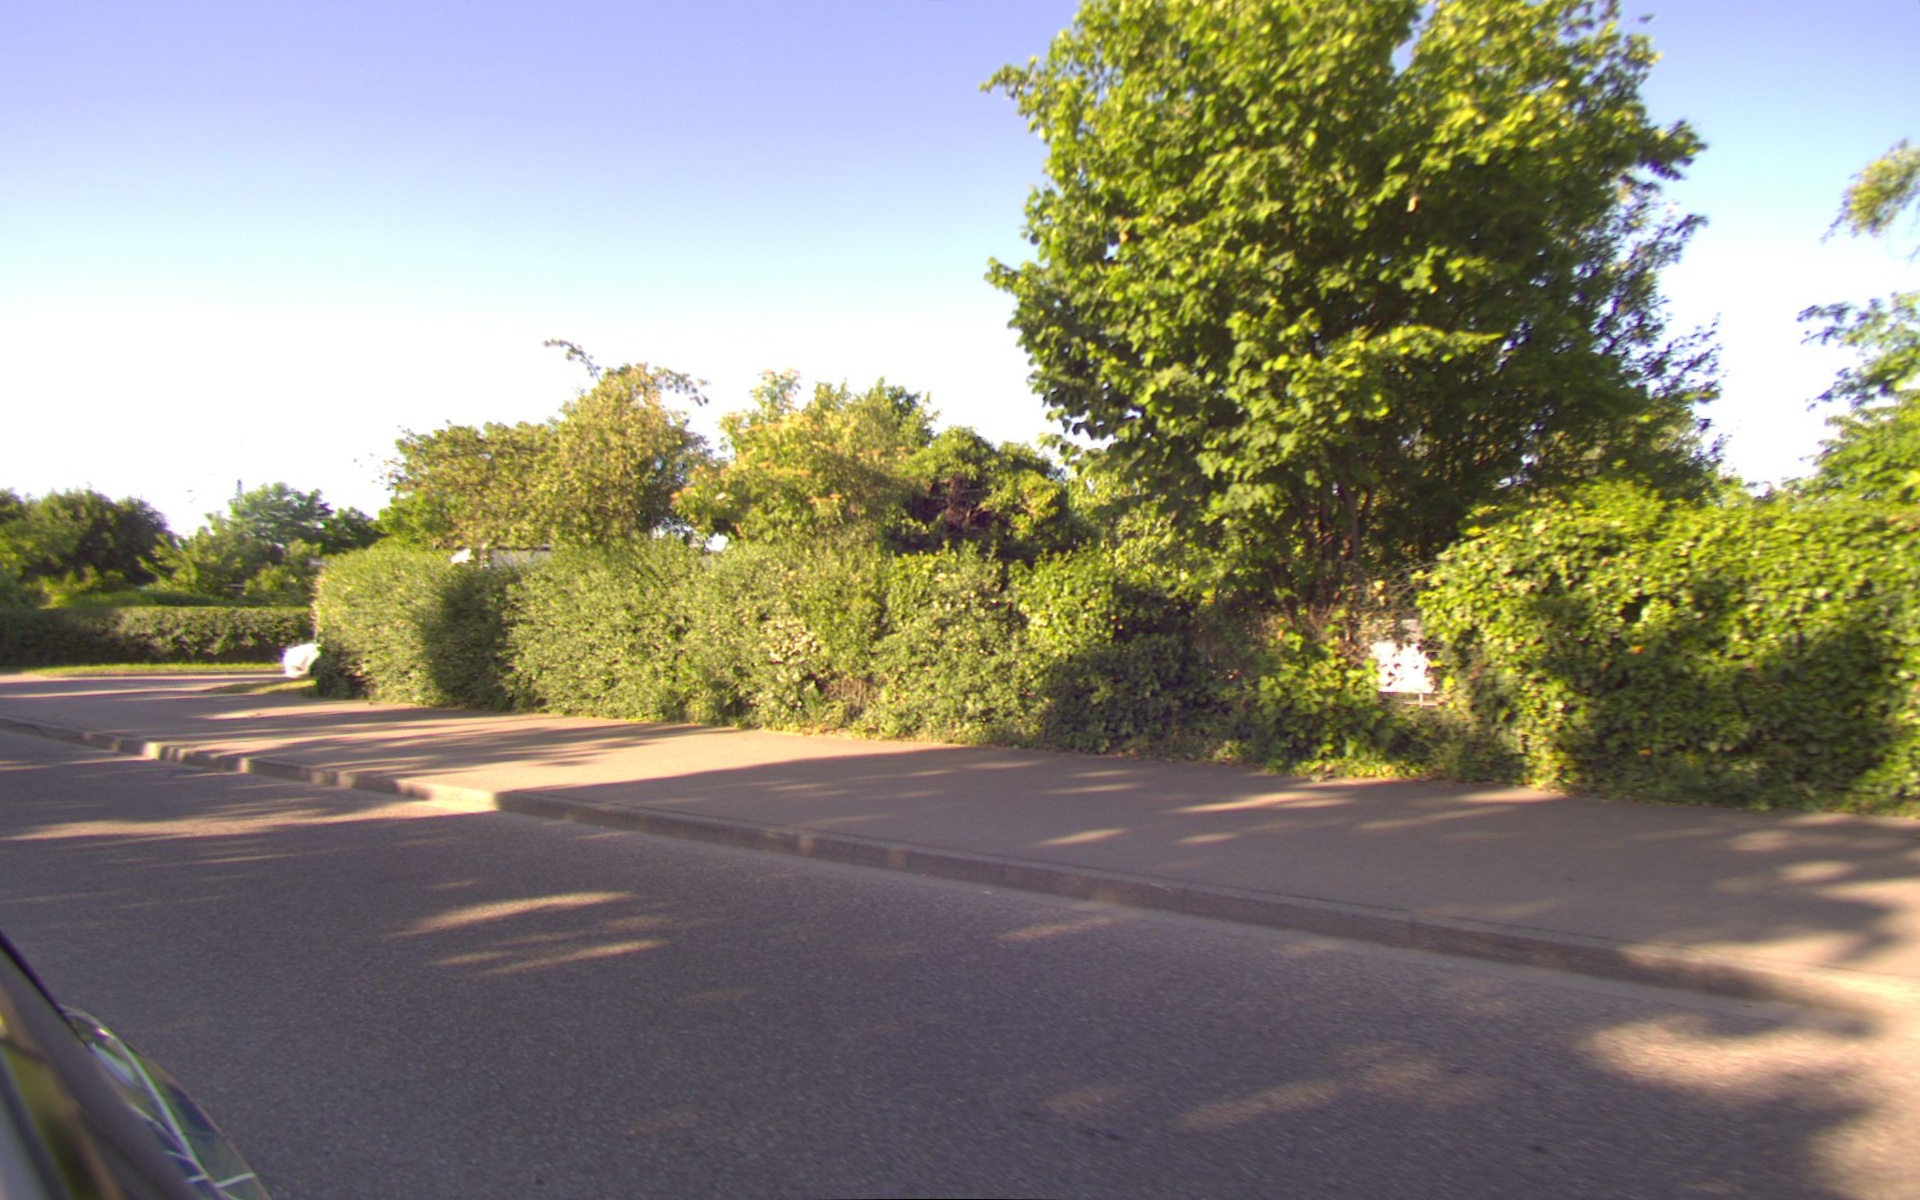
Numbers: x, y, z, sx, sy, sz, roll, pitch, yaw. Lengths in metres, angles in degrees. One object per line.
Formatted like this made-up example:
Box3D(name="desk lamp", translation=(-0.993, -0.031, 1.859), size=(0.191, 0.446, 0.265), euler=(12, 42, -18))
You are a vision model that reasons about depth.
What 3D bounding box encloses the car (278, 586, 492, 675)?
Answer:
Box3D(name="car", translation=(-12.508, 0.618, 22.310), size=(3.931, 1.796, 2.006), euler=(-1, -1, -26))
